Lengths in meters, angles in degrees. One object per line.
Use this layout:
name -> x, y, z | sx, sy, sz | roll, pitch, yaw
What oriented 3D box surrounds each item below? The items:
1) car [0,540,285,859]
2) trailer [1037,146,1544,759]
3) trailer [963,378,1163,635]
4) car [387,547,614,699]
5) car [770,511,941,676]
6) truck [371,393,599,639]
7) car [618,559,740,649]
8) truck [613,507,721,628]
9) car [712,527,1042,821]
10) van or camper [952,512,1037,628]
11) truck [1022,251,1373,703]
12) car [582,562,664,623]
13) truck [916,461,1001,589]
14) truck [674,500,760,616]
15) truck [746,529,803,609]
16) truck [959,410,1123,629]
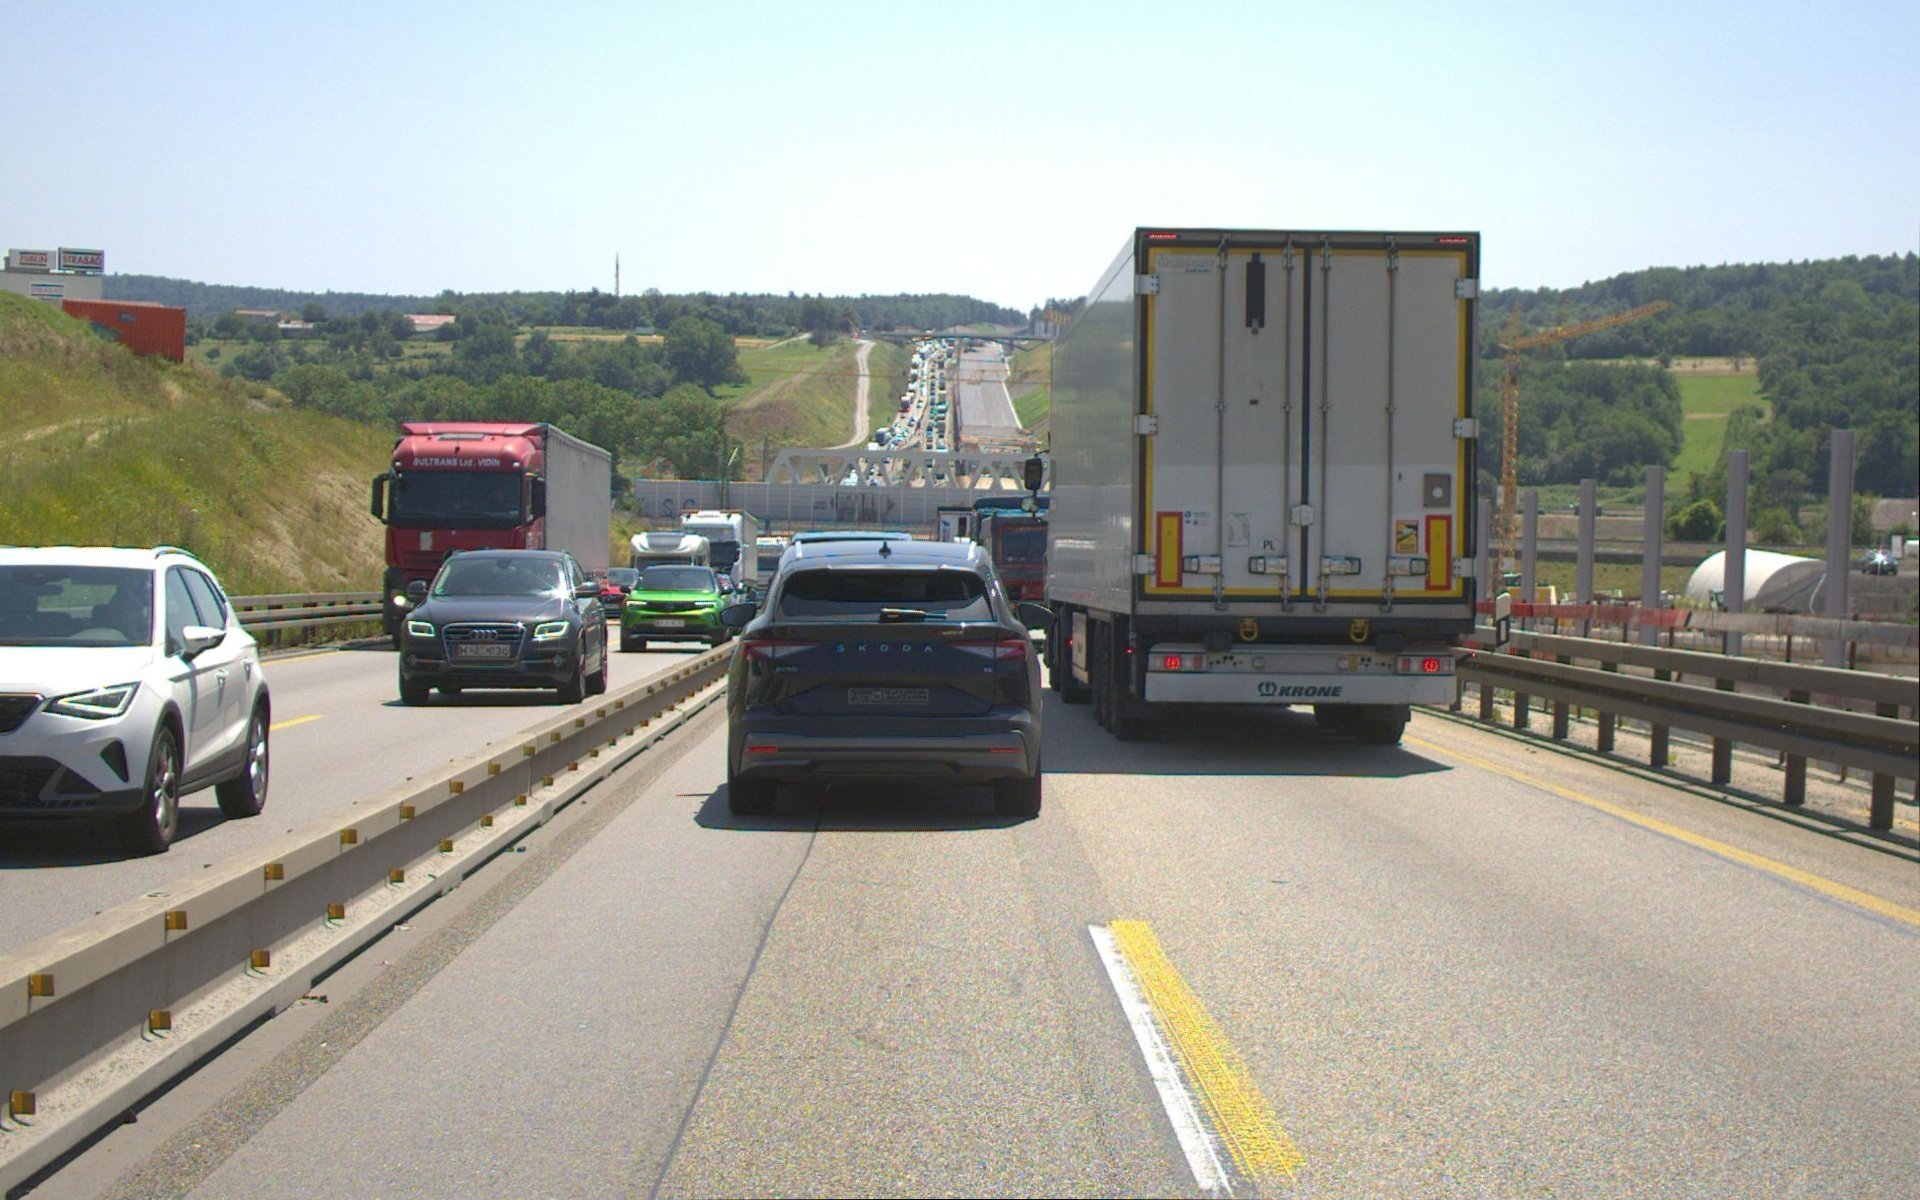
car -> -4.788, 0.448, 18.343 | 1.792, 1.513, 3.999 | 0, 1, -3
trailer -> 2.597, -1.195, 32.054 | 3.180, 4.497, 13.109 | 1, 1, -1
trailer -> 1.830, -1.578, 68.221 | 3.180, 4.498, 14.967 | 1, -1, -1
car -> -4.869, 0.217, 36.921 | 1.993, 1.525, 4.000 | 0, 0, -1
car -> -1.284, -0.058, 42.974 | 1.993, 1.919, 4.508 | 1, -1, -1
truck -> -8.683, -1.371, 64.316 | 2.852, 4.125, 11.918 | 1, -1, -1
car -> -4.853, 0.056, 59.758 | 1.861, 1.471, 4.000 | 1, 0, -1
truck -> -9.648, -0.986, 114.356 | 2.852, 3.769, 11.918 | 1, -1, -1
car -> -0.472, 0.410, 21.026 | 1.802, 1.602, 4.000 | 1, 0, 0
van or camper -> 1.044, -0.840, 101.527 | 2.389, 3.269, 6.468 | 1, -1, 1
truck -> 2.461, -1.299, 38.628 | 3.180, 4.497, 8.166 | 1, 1, -1
car -> -9.453, -0.193, 96.761 | 1.993, 1.645, 4.000 | 1, -1, -2
truck -> -0.123, -2.743, 130.657 | 2.852, 4.450, 11.918 | 1, -1, -1
truck -> -9.669, -1.587, 137.864 | 2.852, 4.323, 11.918 | 1, -1, -1
truck -> -10.482, -1.686, 195.346 | 2.852, 4.323, 11.918 | 1, -1, -1
truck -> 1.682, -1.633, 75.438 | 3.180, 4.498, 8.165 | 1, -1, -1
